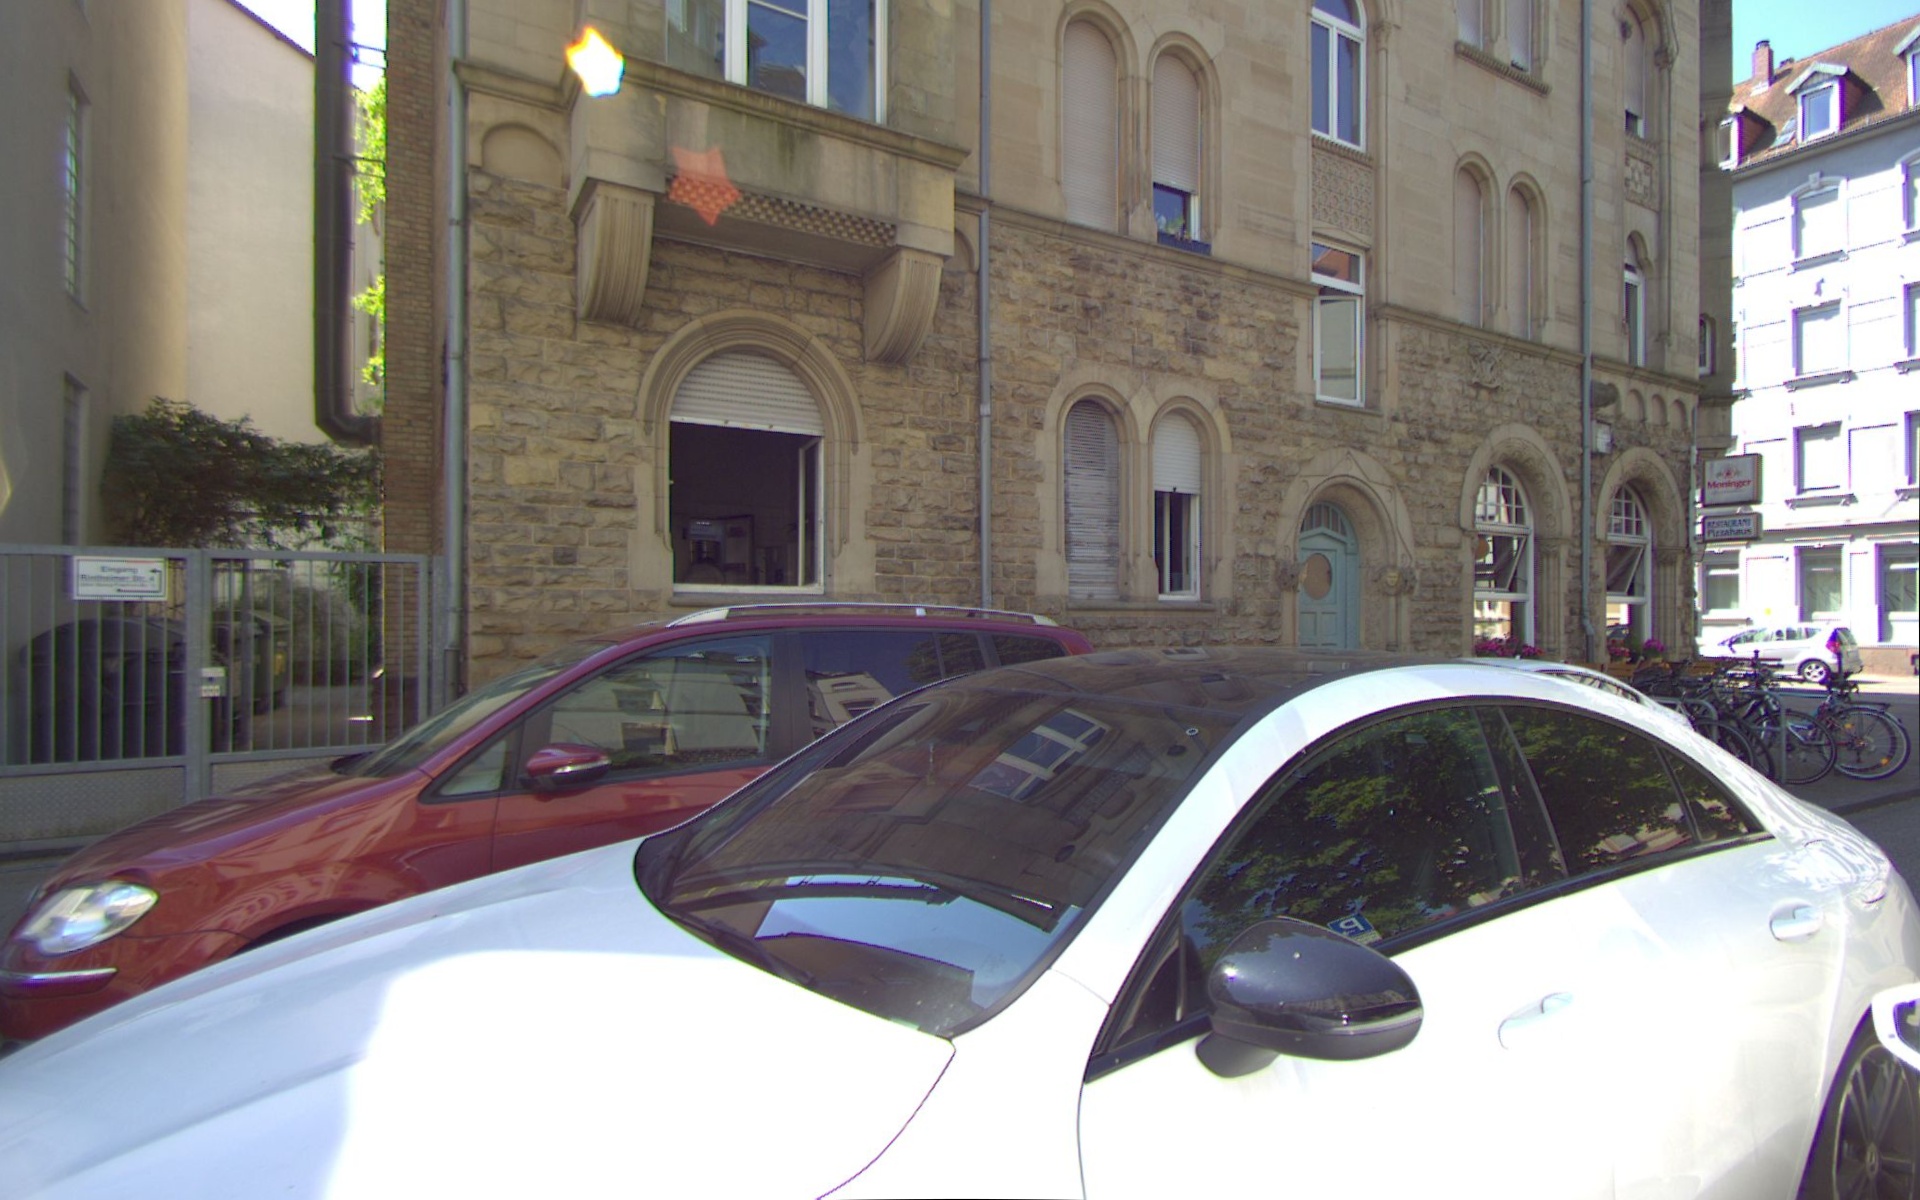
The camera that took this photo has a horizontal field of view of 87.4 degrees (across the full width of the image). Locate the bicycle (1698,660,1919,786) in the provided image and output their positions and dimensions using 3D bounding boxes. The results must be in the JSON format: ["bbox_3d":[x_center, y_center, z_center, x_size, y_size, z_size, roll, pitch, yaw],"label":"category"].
[{"bbox_3d":[8.625,1.207,10.263,0.410,1.059,1.694,1,1,-34],"label":"bicycle"}]

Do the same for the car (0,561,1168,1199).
[{"bbox_3d":[-1.176,0.787,4.282,4.008,1.603,1.664,1,-4,-32],"label":"car"}]

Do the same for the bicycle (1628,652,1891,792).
[{"bbox_3d":[7.791,1.132,9.902,0.431,1.144,1.983,1,0,-34],"label":"bicycle"}]

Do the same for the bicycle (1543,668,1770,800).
[{"bbox_3d":[6.380,1.195,9.307,0.289,1.114,1.693,1,-4,-34],"label":"bicycle"}]

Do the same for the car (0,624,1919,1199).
[{"bbox_3d":[0.499,0.839,2.304,4.312,1.479,1.833,1,-4,-31],"label":"car"}]

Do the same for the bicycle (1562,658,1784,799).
[{"bbox_3d":[6.646,1.156,9.462,0.289,1.115,1.692,1,0,-34],"label":"bicycle"}]

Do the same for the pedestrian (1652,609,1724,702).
[{"bbox_3d":[13.754,1.037,18.996,0.765,1.694,0.853,1,-2,-30],"label":"pedestrian"}]

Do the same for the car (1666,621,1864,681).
[{"bbox_3d":[22.717,1.406,28.496,1.786,1.582,4.026,1,-2,-31],"label":"car"}]

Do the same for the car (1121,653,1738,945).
[{"bbox_3d":[3.347,1.079,6.840,4.467,1.370,1.692,1,-4,-33],"label":"car"}]

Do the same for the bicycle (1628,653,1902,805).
[{"bbox_3d":[7.523,1.151,9.511,0.391,1.145,1.959,1,2,-34],"label":"bicycle"}]

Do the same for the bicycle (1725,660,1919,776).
[{"bbox_3d":[8.985,1.189,10.498,0.363,1.021,1.515,1,1,-34],"label":"bicycle"}]
